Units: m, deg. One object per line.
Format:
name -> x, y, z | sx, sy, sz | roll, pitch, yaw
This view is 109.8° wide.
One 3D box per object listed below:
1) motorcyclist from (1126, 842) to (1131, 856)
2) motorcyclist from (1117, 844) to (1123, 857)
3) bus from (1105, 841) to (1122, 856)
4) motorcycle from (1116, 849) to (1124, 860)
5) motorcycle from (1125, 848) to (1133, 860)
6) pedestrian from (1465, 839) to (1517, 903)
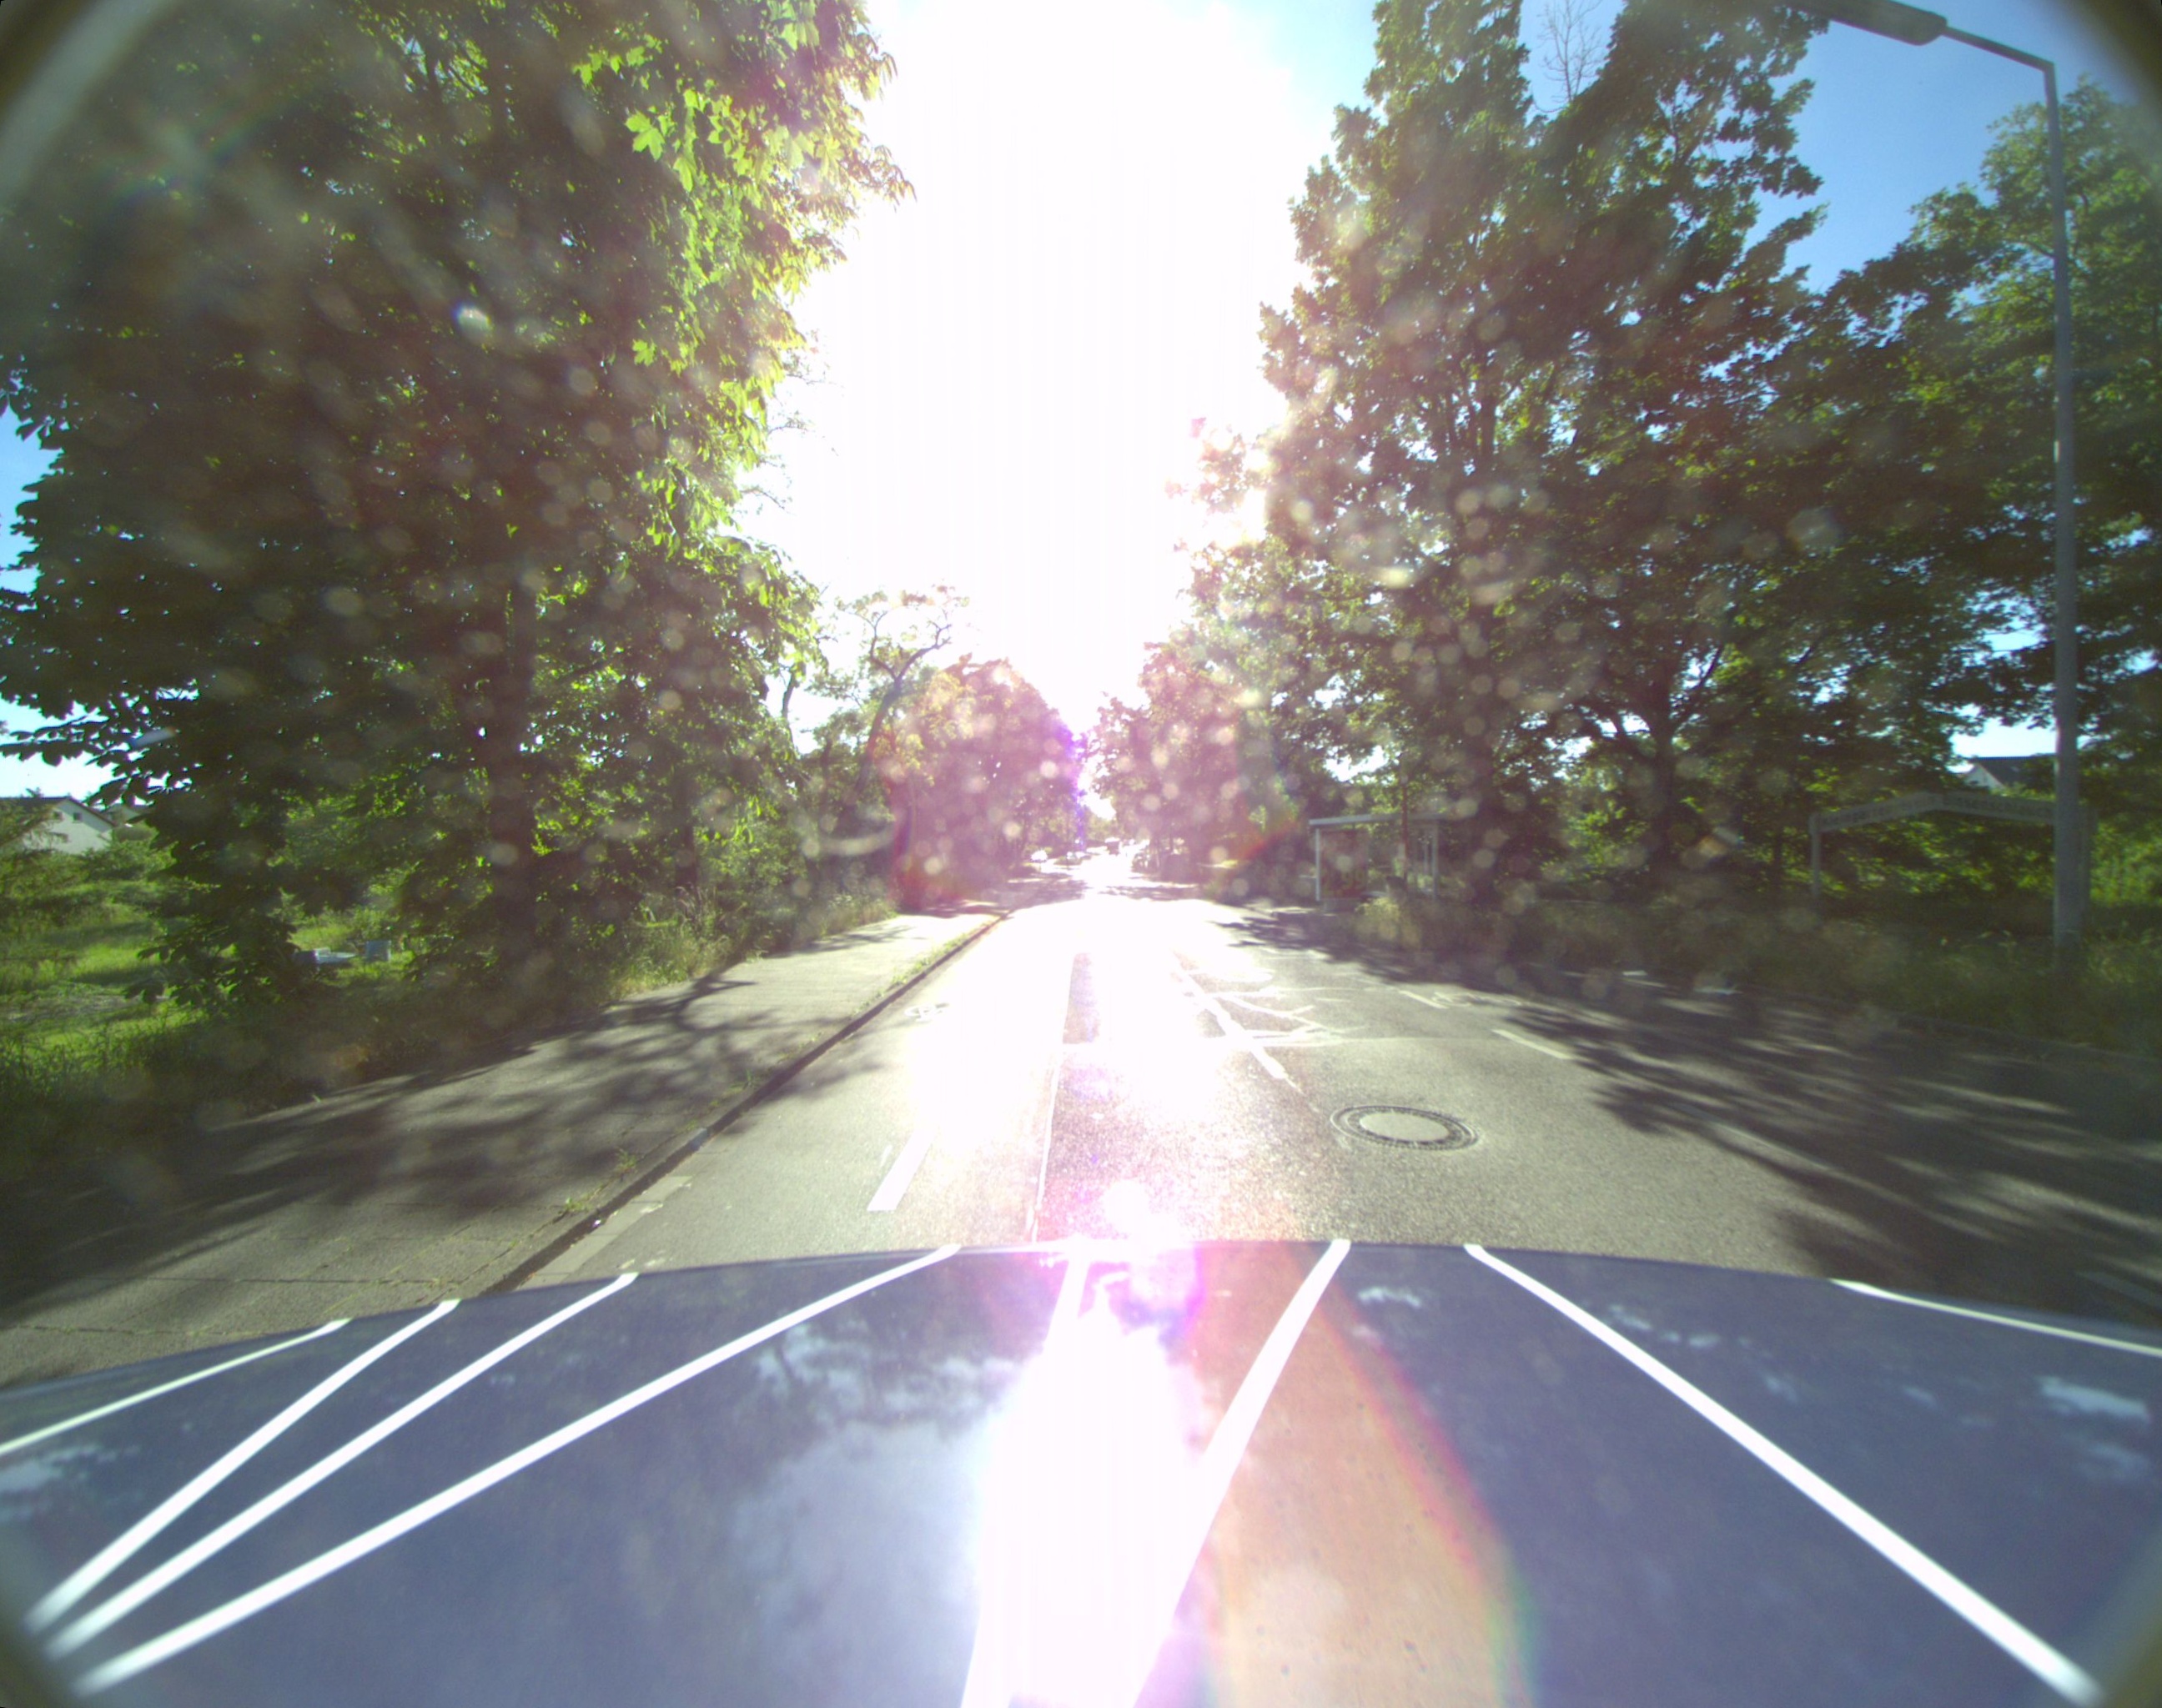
motorcyclist -> 7.086, -0.707, 113.056 | 0.537, 2.002, 0.826 | -3, 1, -2
motorcyclist -> 5.997, -0.534, 116.758 | 0.640, 2.002, 0.739 | -3, 1, -2
bus -> 6.923, -1.116, 161.673 | 2.790, 2.965, 12.893 | -2, 0, -1
motorcycle -> 5.996, 0.043, 116.871 | 0.815, 1.624, 2.411 | -3, 1, -2
motorcycle -> 7.112, 0.027, 112.903 | 0.815, 1.667, 2.411 | -3, 1, -2
pedestrian -> 11.313, 0.463, 21.010 | 0.915, 1.678, 0.891 | -2, 0, 2
